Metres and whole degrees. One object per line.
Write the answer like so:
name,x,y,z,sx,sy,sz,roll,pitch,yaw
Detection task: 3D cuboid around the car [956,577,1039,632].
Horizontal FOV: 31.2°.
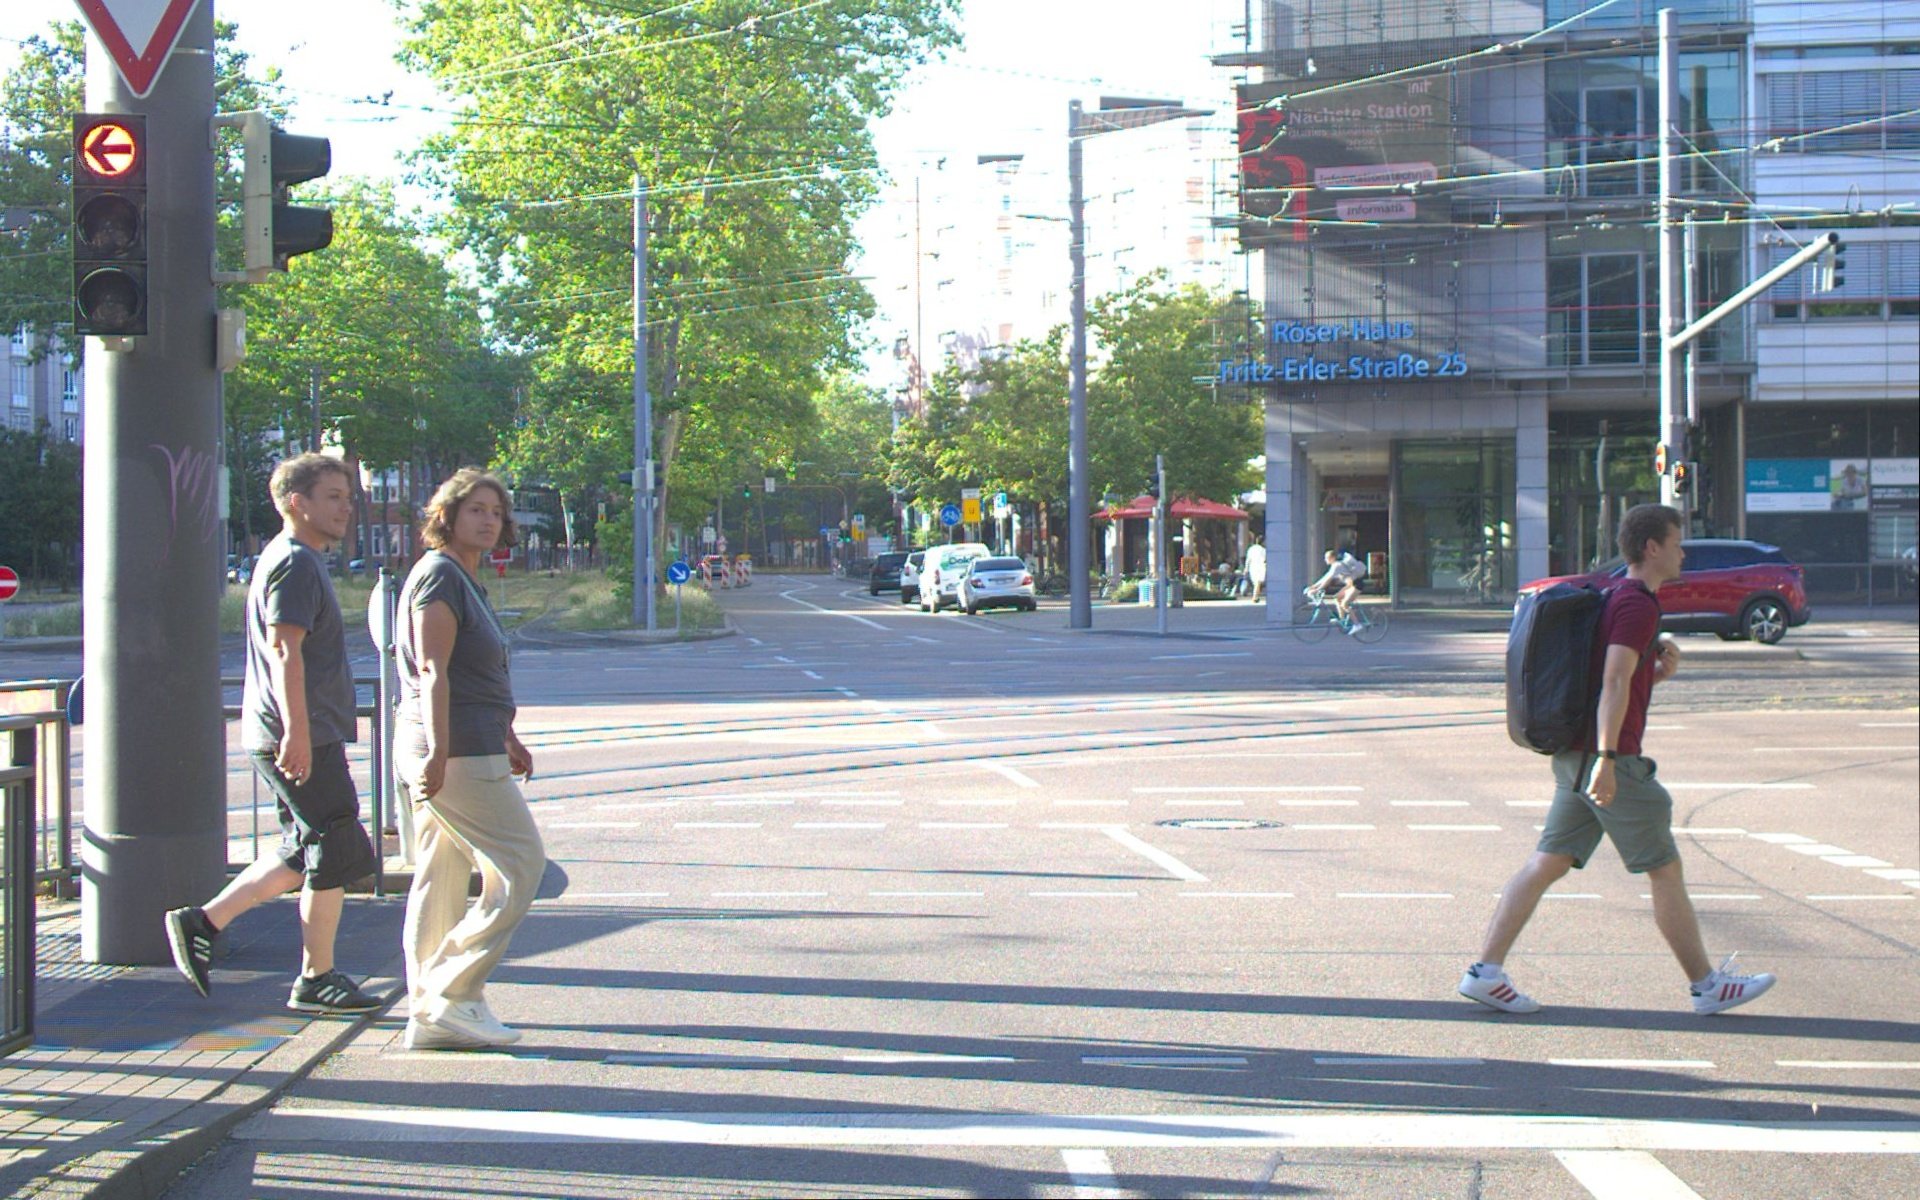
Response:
car,0.939,0.100,88.225,1.993,1.327,4.000,-1,1,-1

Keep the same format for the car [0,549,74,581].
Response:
car,-47.930,-1.814,177.349,3.987,1.547,1.607,1,0,-31

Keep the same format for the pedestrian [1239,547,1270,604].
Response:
pedestrian,7.691,-0.646,89.801,0.739,1.460,0.537,-1,0,-2

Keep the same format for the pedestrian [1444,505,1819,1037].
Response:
pedestrian,2.213,0.552,11.406,1.073,1.709,0.628,1,0,-4

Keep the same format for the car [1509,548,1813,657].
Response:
car,10.734,0.021,52.821,4.240,1.596,1.796,-1,1,-2

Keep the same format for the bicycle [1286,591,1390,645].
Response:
bicycle,6.465,0.312,58.836,1.741,0.896,0.409,-1,1,5

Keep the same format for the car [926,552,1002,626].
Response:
car,0.083,-0.321,94.987,1.993,1.985,4.000,-1,1,-1

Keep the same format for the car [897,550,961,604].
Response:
car,-1.022,-0.750,110.295,1.993,1.656,4.000,-1,1,-1

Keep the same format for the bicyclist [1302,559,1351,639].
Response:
bicyclist,6.275,-0.018,58.845,0.819,1.362,0.400,-1,1,5

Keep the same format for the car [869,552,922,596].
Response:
car,-2.480,-1.013,132.003,1.993,1.656,4.000,-1,1,-1

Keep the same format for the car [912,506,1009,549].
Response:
car,0.022,-3.090,146.592,3.763,1.744,1.780,1,0,14

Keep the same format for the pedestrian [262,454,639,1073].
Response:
pedestrian,-1.537,0.479,10.433,1.071,1.800,0.758,1,0,-8

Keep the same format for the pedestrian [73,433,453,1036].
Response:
pedestrian,-2.255,0.424,11.250,1.145,1.887,0.833,1,0,-8
